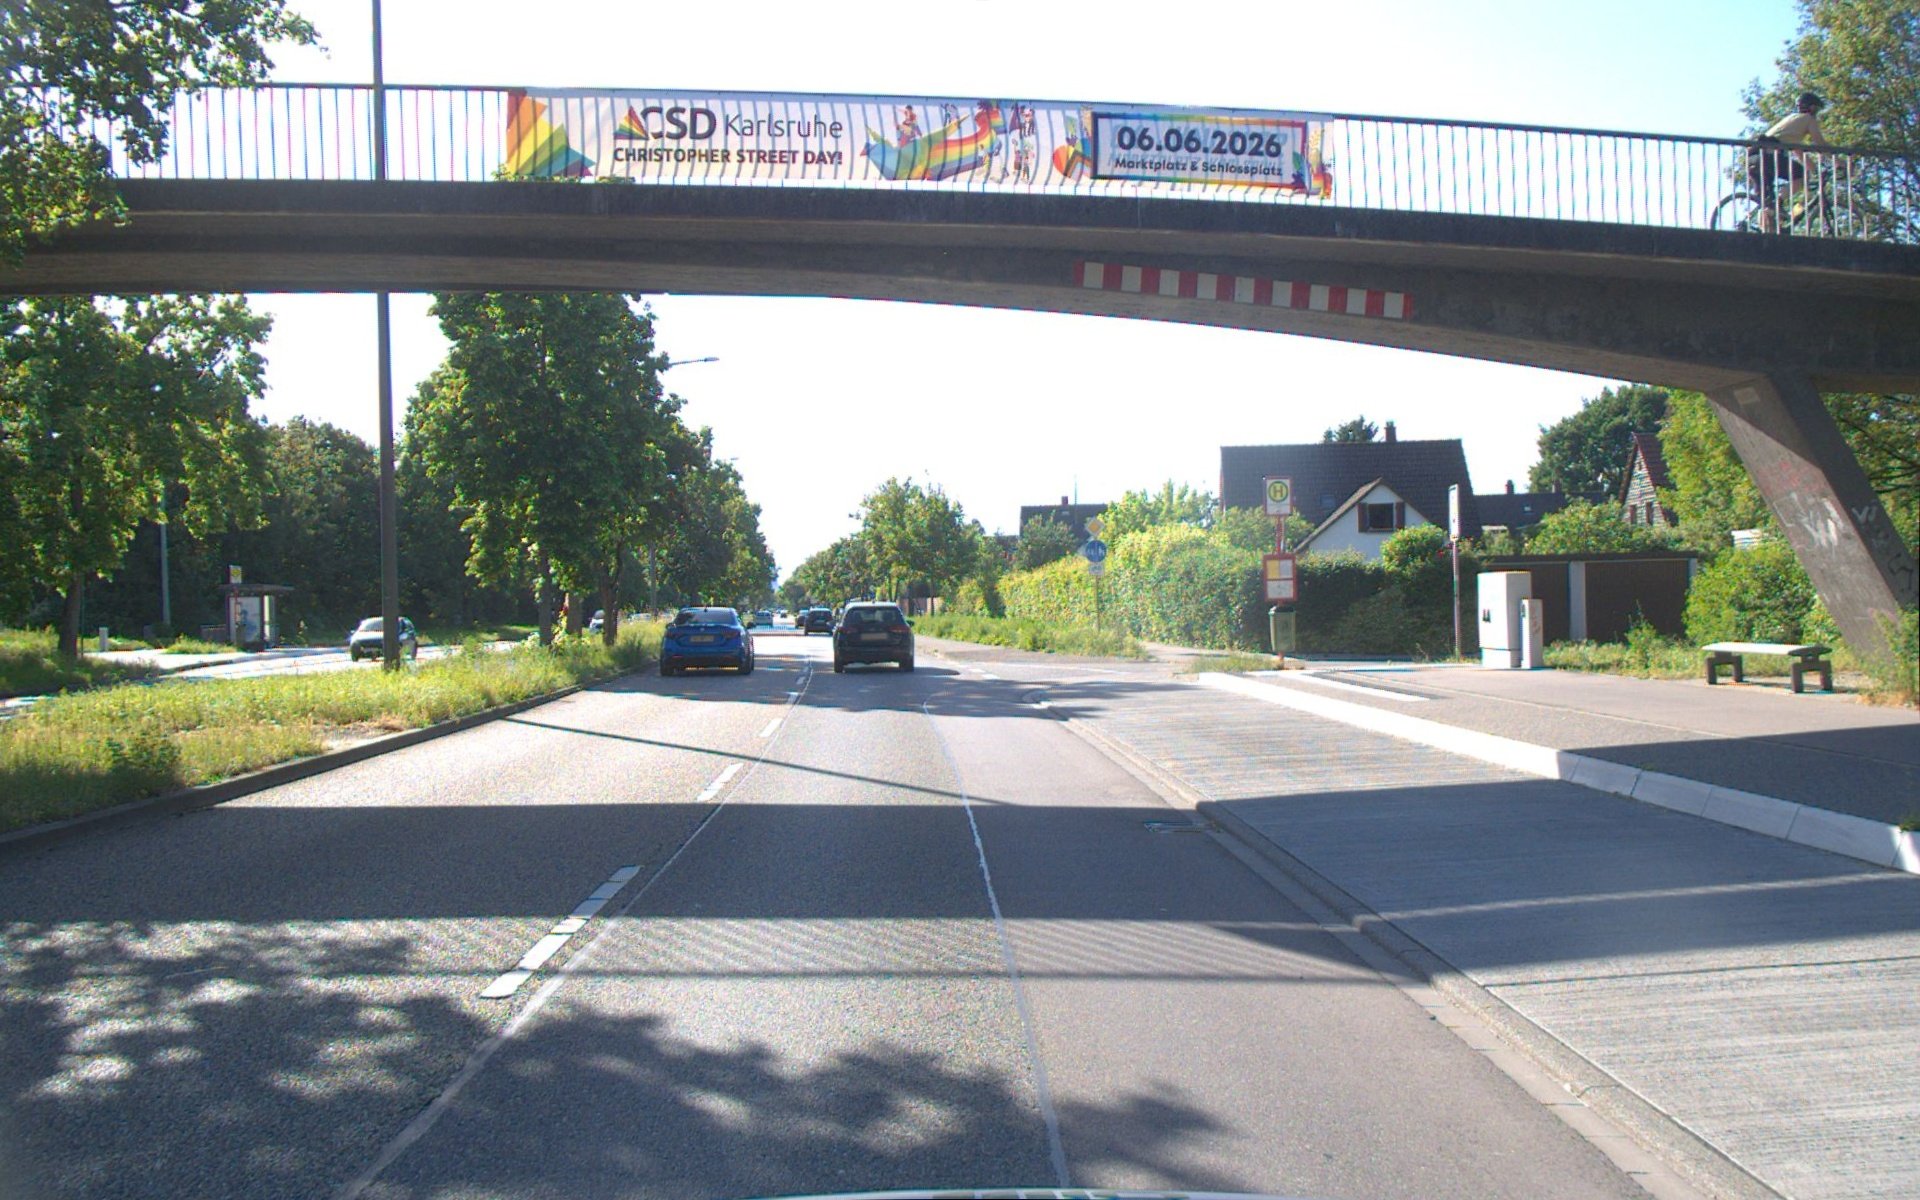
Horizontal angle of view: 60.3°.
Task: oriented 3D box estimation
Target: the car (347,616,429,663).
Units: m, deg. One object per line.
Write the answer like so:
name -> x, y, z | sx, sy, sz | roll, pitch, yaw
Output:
car -> -19.683, 1.329, 57.073 | 1.509, 1.456, 4.252 | -2, 0, -4

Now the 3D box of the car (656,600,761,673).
car -> -5.378, 0.742, 35.783 | 1.956, 1.429, 3.996 | -1, 0, -5

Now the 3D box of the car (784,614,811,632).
car -> -13.526, 1.911, 137.630 | 1.864, 1.379, 3.990 | -1, 0, -10

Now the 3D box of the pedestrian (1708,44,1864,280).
pedestrian -> 8.505, -4.485, 17.070 | 1.045, 2.161, 0.996 | -1, 0, -4

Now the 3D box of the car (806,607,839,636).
car -> -8.100, 1.229, 97.211 | 1.711, 1.625, 4.167 | -1, 0, -8

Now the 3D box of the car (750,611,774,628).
car -> -18.075, 1.768, 150.793 | 1.942, 1.465, 3.990 | -1, 0, -10

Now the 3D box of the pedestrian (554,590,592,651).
pedestrian -> -11.102, 0.591, 47.436 | 0.618, 1.726, 0.942 | -1, 0, 24

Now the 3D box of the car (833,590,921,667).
car -> -1.879, 0.634, 36.457 | 1.726, 1.587, 3.995 | 1, -1, -6

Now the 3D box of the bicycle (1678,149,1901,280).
bicycle -> 8.527, -3.958, 17.048 | 1.949, 1.127, 0.727 | 1, 0, -4

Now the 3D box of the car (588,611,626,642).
car -> -20.191, 1.496, 94.748 | 1.697, 1.660, 4.191 | -2, 0, -7
